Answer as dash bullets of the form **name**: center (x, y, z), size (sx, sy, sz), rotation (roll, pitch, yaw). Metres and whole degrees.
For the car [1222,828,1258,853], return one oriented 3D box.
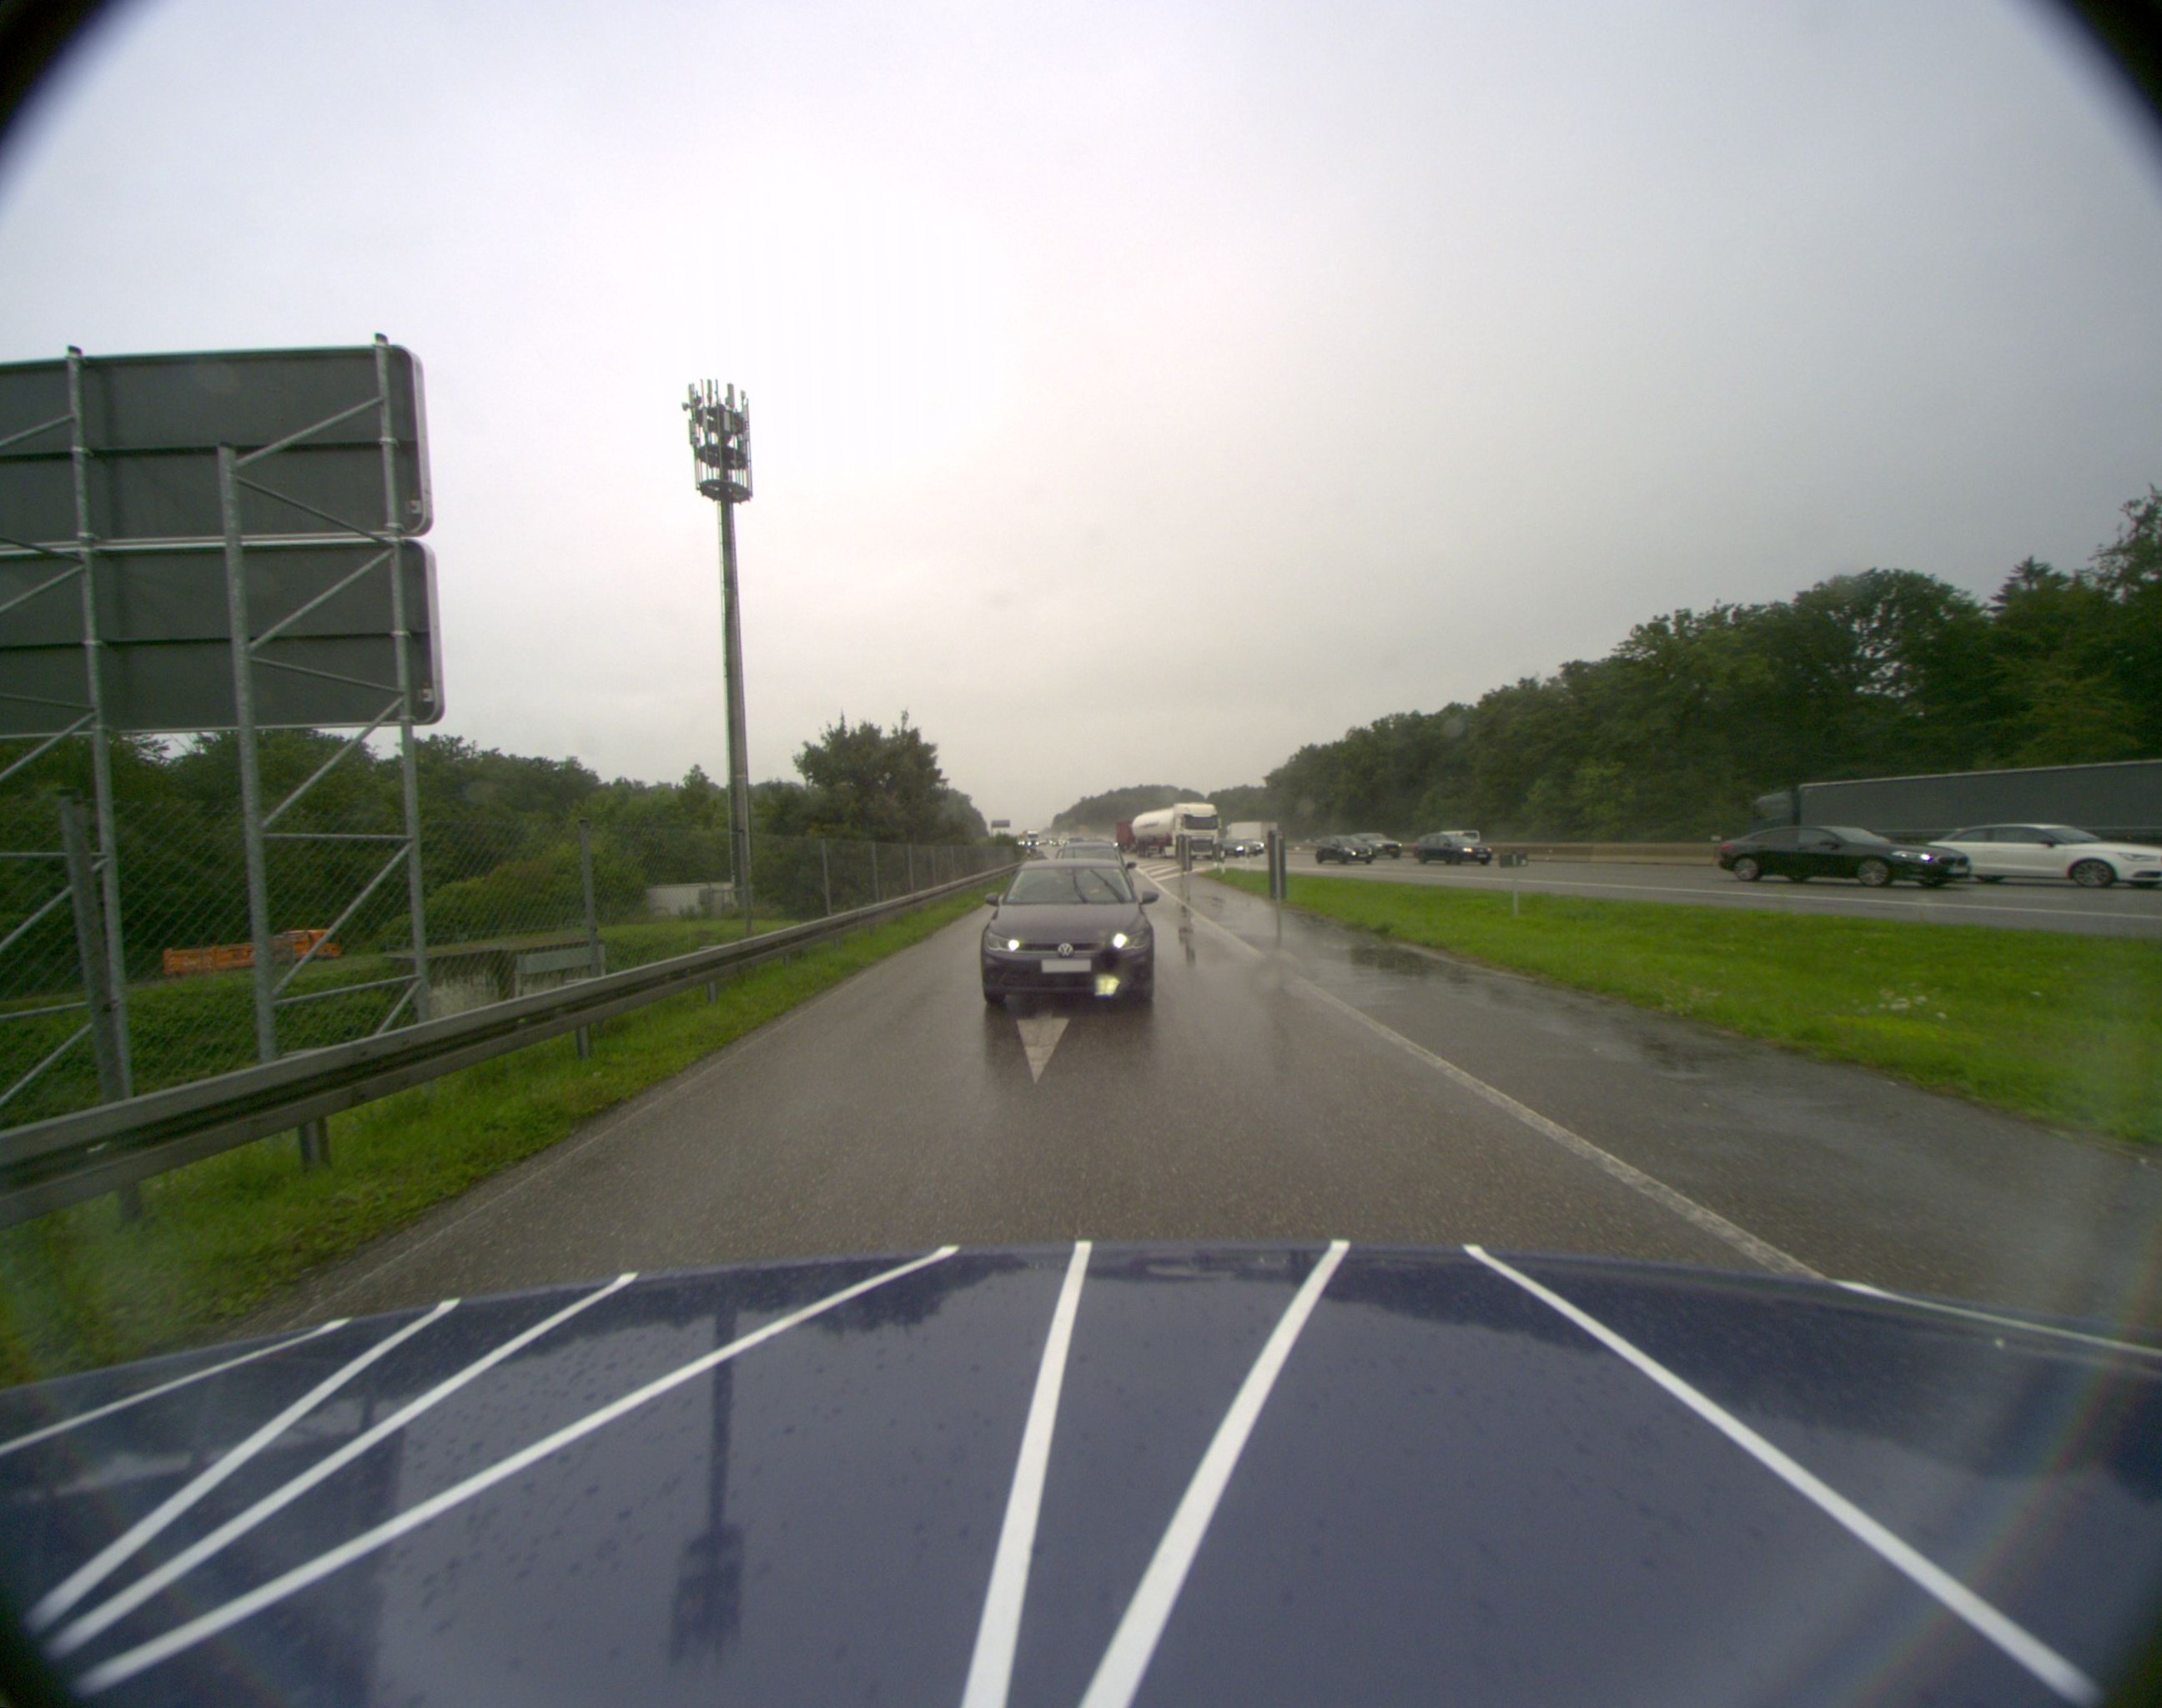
- **car**: center (13.625, -1.159, 65.305), size (1.862, 2.002, 3.997), rotation (-1, 1, -6)

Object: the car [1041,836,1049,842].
- **car**: center (-9.568, -4.060, 203.586), size (1.775, 1.668, 3.996), rotation (-4, 2, -7)

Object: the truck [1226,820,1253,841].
- **truck**: center (26.712, -3.965, 128.135), size (2.655, 3.432, 5.596), rotation (-2, 1, -8)

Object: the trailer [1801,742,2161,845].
- **trailer**: center (41.376, -2.424, 34.411), size (3.038, 3.790, 13.394), rotation (-3, 1, -11)

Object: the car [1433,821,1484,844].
- **car**: center (35.531, -2.042, 71.610), size (2.000, 2.003, 4.478), rotation (-4, 2, -9)

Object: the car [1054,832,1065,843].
- **car**: center (-4.816, -3.662, 169.593), size (1.918, 2.003, 3.995), rotation (-7, 4, -6)

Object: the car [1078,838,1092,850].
- **car**: center (0.697, -1.771, 134.871), size (1.927, 1.852, 3.996), rotation (-6, 3, -5)

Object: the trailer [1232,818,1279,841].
- **trailer**: center (27.686, -3.792, 121.151), size (2.657, 3.477, 13.473), rotation (-2, 1, -8)

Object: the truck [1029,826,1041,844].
- **truck**: center (-11.033, -4.562, 183.393), size (2.597, 4.121, 5.228), rotation (-4, 1, -3)

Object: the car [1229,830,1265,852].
- **car**: center (15.964, -1.268, 73.409), size (2.000, 2.002, 3.996), rotation (-2, 1, -9)

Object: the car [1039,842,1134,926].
- **car**: center (0.148, 0.587, 17.558), size (1.810, 1.532, 3.999), rotation (-5, 1, 1)

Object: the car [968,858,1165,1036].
- **car**: center (-0.145, 0.839, 8.878), size (1.670, 1.394, 4.260), rotation (-3, 1, -1)

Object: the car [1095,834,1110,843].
- **car**: center (3.845, -2.768, 136.396), size (1.789, 1.550, 4.094), rotation (-1, 0, -12)

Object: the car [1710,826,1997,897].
- **car**: center (18.112, 0.109, 18.196), size (1.886, 1.472, 4.496), rotation (-1, 1, -12)

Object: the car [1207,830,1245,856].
- **car**: center (11.246, -0.876, 59.263), size (1.766, 1.893, 3.997), rotation (-3, 1, -6)

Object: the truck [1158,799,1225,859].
- **truck**: center (7.805, -1.742, 54.441), size (2.759, 3.985, 6.501), rotation (-2, 1, -10)

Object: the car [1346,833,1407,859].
- **car**: center (19.940, -0.543, 51.520), size (1.824, 1.659, 4.400), rotation (0, 1, -10)

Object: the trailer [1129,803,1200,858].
- **trailer**: center (6.519, -1.826, 61.698), size (2.771, 4.003, 11.029), rotation (0, 1, -10)

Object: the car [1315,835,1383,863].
- **car**: center (14.009, -0.281, 39.969), size (1.824, 1.364, 3.997), rotation (-1, 1, -6)

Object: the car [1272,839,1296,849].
- **car**: center (22.225, -1.111, 83.299), size (1.443, 1.075, 2.885), rotation (-3, 2, -10)

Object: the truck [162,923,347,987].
- **truck**: center (-51.263, 6.135, 47.598), size (2.834, 2.646, 8.260), rotation (-7, 0, -6)

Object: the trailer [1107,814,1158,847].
- **trailer**: center (6.021, -2.750, 92.756), size (2.692, 3.485, 15.110), rotation (-5, 2, -9)

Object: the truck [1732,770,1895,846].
- **truck**: center (39.974, -2.418, 41.721), size (3.052, 3.725, 5.639), rotation (-3, 1, -11)

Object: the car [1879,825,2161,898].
- **car**: center (22.210, 0.098, 17.844), size (1.886, 1.472, 4.497), rotation (-1, 2, -9)

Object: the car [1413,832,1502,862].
- **car**: center (18.495, -0.344, 37.544), size (1.824, 1.406, 4.120), rotation (-1, 0, -10)
